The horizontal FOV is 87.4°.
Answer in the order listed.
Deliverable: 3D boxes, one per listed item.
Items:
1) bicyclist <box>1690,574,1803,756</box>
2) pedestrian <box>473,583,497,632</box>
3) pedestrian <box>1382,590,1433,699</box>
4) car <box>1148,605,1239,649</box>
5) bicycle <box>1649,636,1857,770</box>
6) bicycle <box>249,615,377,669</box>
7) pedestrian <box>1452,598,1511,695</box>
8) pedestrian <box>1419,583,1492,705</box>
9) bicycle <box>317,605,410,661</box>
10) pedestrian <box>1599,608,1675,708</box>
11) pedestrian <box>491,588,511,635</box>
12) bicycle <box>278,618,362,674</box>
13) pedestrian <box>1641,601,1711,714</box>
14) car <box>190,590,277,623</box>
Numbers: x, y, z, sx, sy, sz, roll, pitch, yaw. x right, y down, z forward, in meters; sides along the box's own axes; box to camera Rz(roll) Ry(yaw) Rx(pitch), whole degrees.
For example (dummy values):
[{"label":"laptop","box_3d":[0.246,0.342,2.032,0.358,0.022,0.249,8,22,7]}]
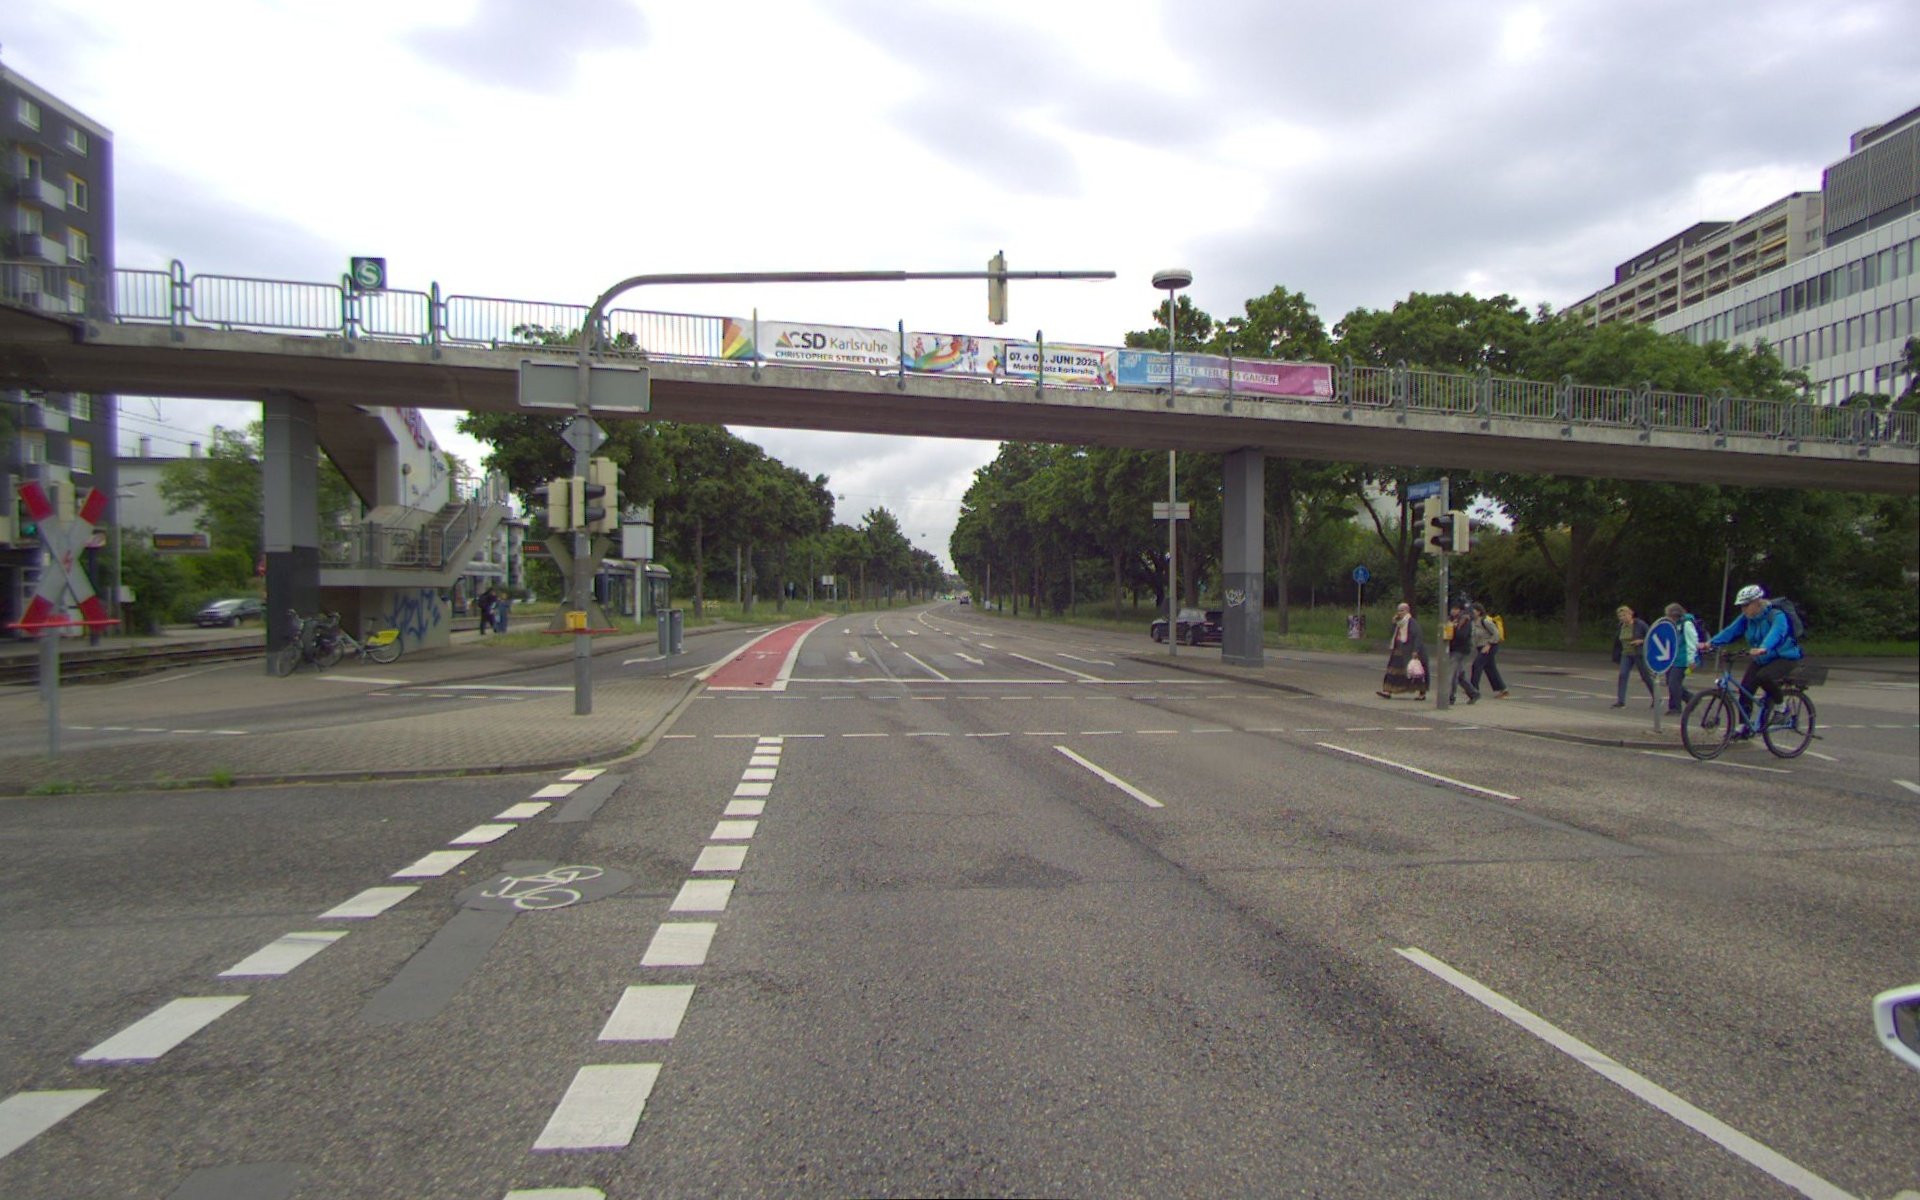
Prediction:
[{"label":"bicyclist","box_3d":[8.039,0.635,10.282,0.636,1.792,0.644,0,1,-17]},{"label":"pedestrian","box_3d":[-16.356,0.266,34.586,0.591,1.664,0.662,0,1,-9]},{"label":"pedestrian","box_3d":[7.189,0.704,16.154,0.400,1.714,0.616,0,1,-28]},{"label":"car","box_3d":[8.951,1.000,38.886,1.644,1.528,4.385,0,1,-14]},{"label":"bicycle","box_3d":[8.193,1.029,10.383,2.075,1.284,0.543,0,1,-15]},{"label":"bicycle","box_3d":[-12.130,0.760,18.946,0.546,0.900,2.408,0,0,10]},{"label":"pedestrian","box_3d":[8.917,0.774,17.167,0.773,1.600,0.575,0,1,-33]},{"label":"pedestrian","box_3d":[7.680,0.662,15.580,0.791,1.828,0.635,0,1,-23]},{"label":"bicycle","box_3d":[-12.214,0.660,20.594,1.603,1.110,0.347,0,1,-41]},{"label":"pedestrian","box_3d":[10.714,0.893,15.924,0.398,1.531,0.914,0,1,-25]},{"label":"pedestrian","box_3d":[-15.428,0.381,33.744,0.551,1.585,0.334,0,0,-14]},{"label":"bicycle","box_3d":[-12.071,0.846,19.007,0.367,0.934,2.036,0,1,-3]},{"label":"pedestrian","box_3d":[10.665,0.835,14.965,0.480,1.626,0.686,0,1,-18]},{"label":"car","box_3d":[-36.387,0.330,50.430,1.636,1.581,3.998,0,0,-4]}]
